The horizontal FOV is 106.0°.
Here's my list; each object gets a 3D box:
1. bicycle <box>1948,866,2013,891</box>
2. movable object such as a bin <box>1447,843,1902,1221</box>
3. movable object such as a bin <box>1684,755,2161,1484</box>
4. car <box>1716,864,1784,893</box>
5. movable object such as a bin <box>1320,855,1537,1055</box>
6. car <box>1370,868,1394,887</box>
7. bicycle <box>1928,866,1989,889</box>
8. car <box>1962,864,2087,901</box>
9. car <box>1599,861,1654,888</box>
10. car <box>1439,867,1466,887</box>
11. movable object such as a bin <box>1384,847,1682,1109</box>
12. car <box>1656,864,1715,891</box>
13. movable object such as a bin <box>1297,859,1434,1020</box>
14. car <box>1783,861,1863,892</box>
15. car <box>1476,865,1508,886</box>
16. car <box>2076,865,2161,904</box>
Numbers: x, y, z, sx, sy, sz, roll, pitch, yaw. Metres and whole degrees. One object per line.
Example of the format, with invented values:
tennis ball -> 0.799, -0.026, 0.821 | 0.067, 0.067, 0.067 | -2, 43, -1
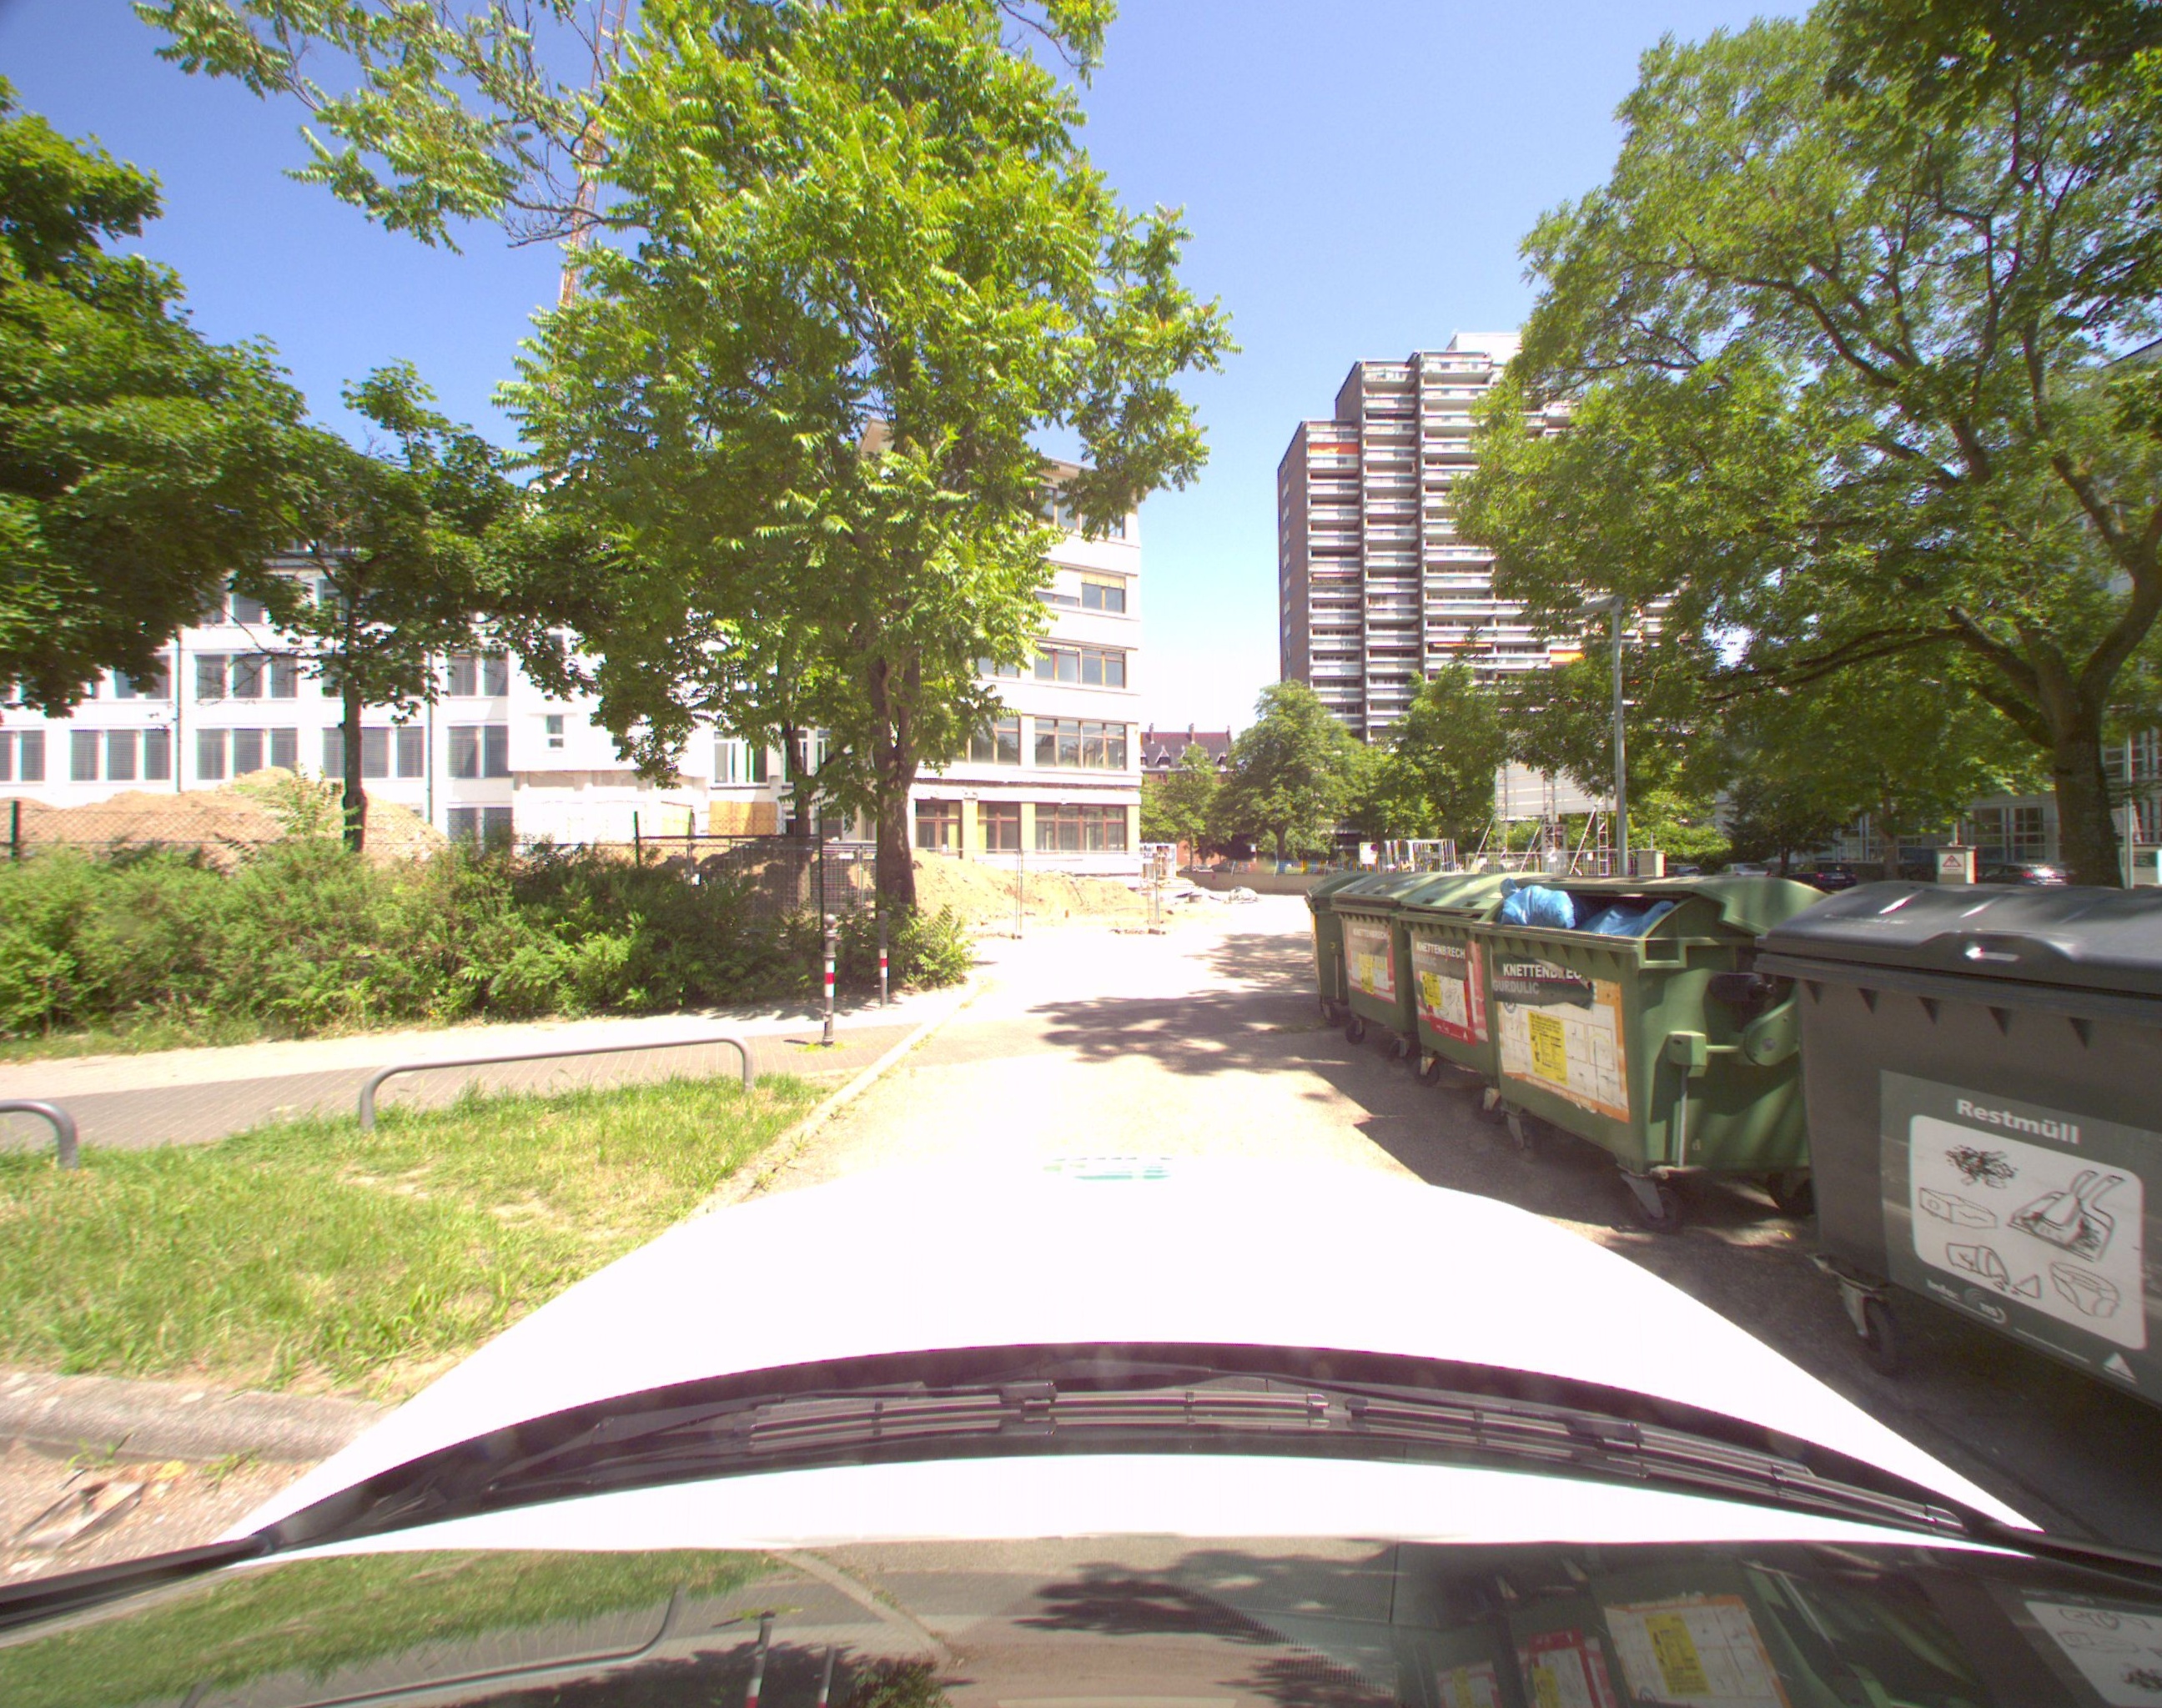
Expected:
bicycle -> 44.311, 1.191, 40.125 | 2.419, 1.188, 0.782 | 0, -2, -4
movable object such as a bin -> 2.666, 0.714, 3.899 | 1.177, 1.470, 1.309 | 0, -2, -5
movable object such as a bin -> 2.759, 0.564, 2.166 | 1.154, 1.505, 1.459 | 0, -2, -7
car -> 34.896, 1.252, 42.583 | 1.619, 1.464, 3.696 | -1, -1, 20
movable object such as a bin -> 2.786, 0.766, 6.723 | 1.176, 1.470, 1.309 | 0, -2, -4
car -> 23.568, 1.830, 63.695 | 1.619, 1.387, 3.697 | -1, -1, 22
bicycle -> 44.280, 1.180, 41.110 | 2.371, 1.158, 0.782 | 0, -2, -4
car -> 39.318, 1.153, 34.069 | 1.627, 1.464, 3.693 | -1, -1, 15
car -> 31.478, 1.188, 47.096 | 1.620, 1.464, 3.693 | -1, -1, 16
car -> 26.808, 1.671, 58.852 | 1.619, 1.387, 3.697 | -1, -1, 22
movable object such as a bin -> 2.813, 0.717, 5.282 | 1.176, 1.470, 1.310 | 0, -2, -2
car -> 33.317, 1.286, 44.954 | 1.619, 1.464, 3.696 | -1, -1, 20
movable object such as a bin -> 2.820, 0.806, 8.262 | 1.171, 1.470, 1.337 | 0, -2, 13
car -> 36.200, 1.091, 39.860 | 1.619, 1.464, 3.696 | -1, -1, 20
car -> 28.062, 1.483, 55.718 | 1.619, 1.387, 3.697 | -1, -1, 22
car -> 40.567, 1.132, 31.027 | 1.594, 1.445, 3.695 | -1, -1, 18
